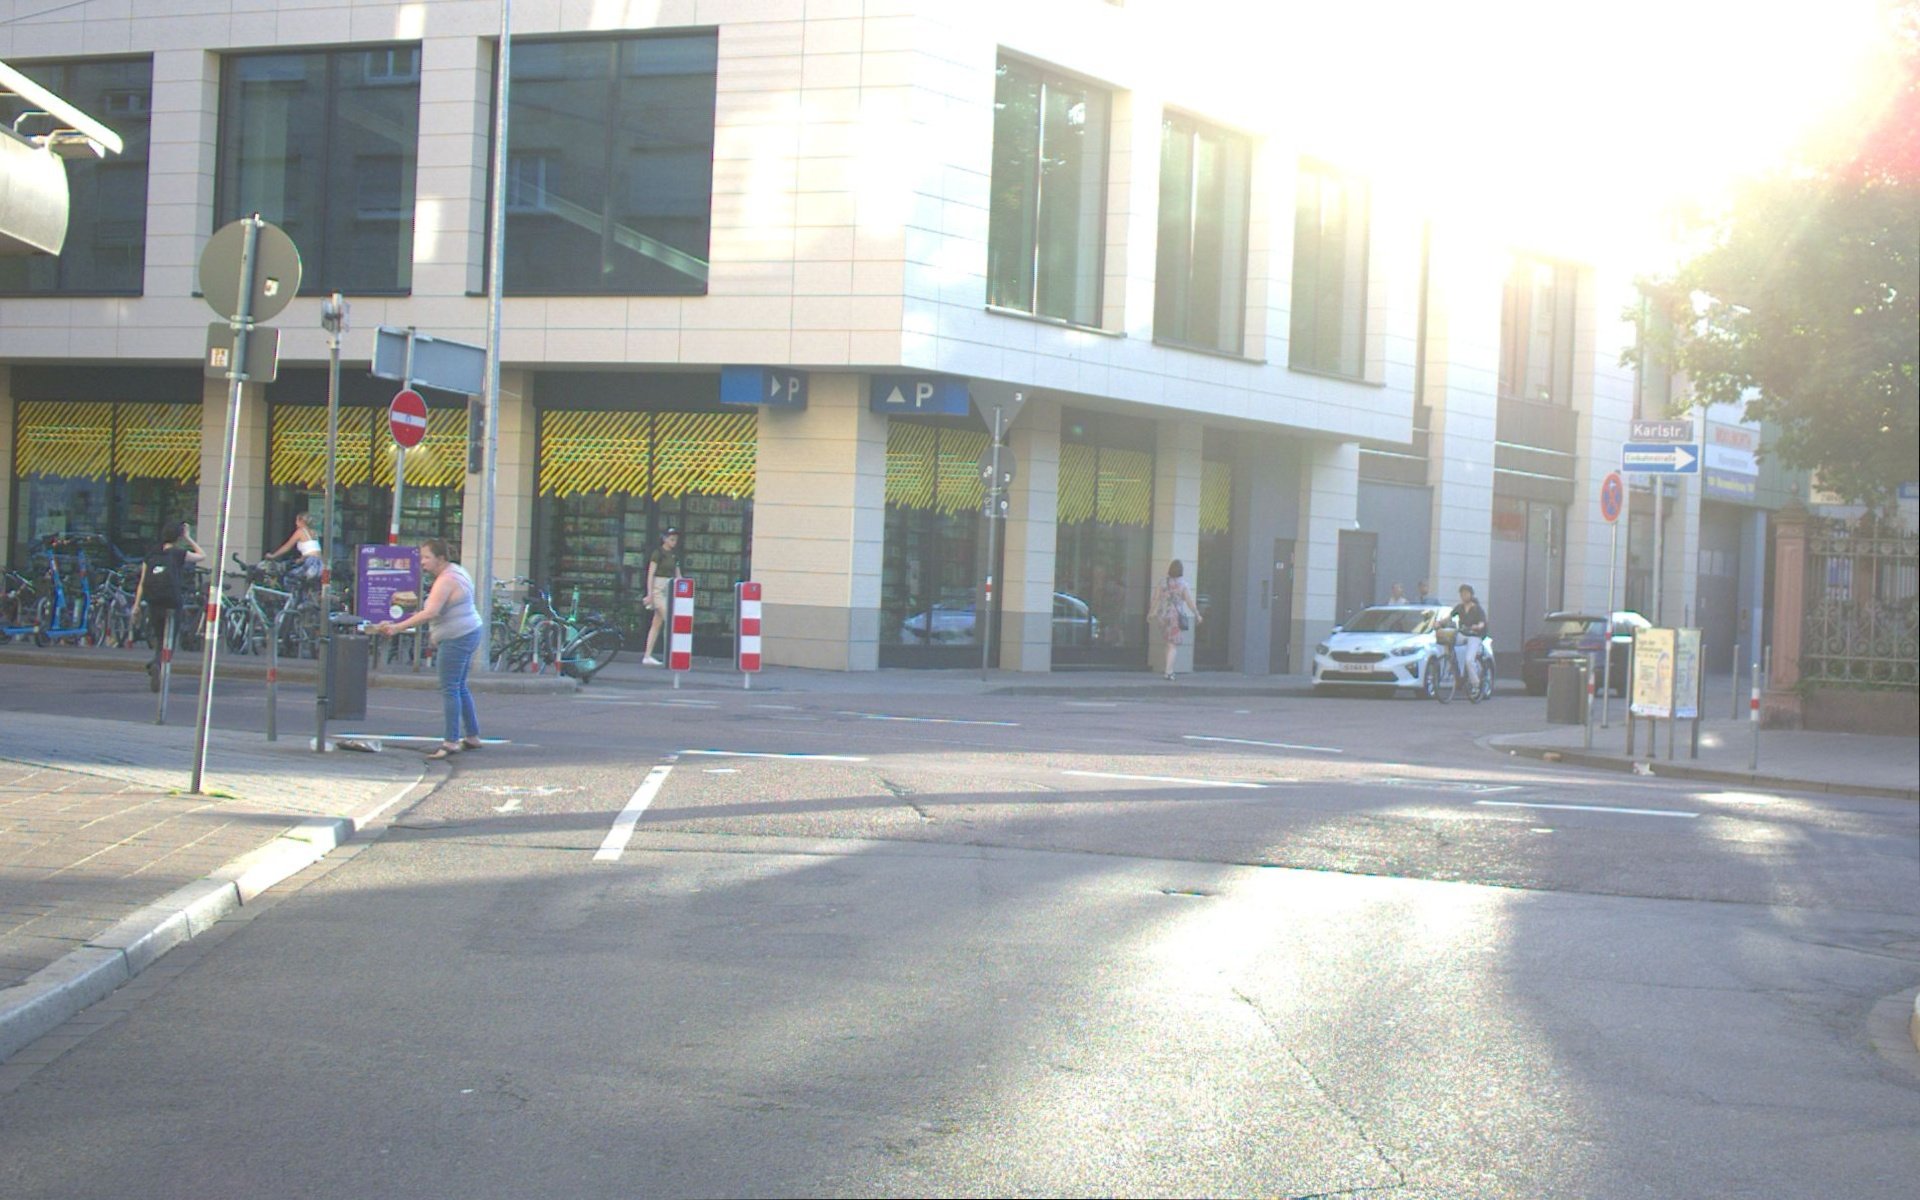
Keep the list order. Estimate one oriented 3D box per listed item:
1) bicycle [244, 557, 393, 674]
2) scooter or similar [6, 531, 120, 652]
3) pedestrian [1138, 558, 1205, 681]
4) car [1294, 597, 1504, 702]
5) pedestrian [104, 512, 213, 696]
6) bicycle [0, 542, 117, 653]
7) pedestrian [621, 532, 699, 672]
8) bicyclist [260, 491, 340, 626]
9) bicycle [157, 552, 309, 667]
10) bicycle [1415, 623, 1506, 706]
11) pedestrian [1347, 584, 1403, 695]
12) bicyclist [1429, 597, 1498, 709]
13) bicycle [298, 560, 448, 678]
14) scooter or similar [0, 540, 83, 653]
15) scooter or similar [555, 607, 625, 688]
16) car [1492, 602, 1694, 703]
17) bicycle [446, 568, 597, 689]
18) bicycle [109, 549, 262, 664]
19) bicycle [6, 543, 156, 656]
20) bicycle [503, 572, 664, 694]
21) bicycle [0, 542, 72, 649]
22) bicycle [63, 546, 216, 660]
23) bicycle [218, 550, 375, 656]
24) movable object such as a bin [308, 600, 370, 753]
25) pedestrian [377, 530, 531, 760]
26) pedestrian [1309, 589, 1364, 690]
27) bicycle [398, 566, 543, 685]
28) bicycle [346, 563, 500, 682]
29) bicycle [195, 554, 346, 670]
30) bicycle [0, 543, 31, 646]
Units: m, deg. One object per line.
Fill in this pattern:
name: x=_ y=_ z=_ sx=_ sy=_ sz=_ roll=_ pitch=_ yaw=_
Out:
bicycle: x=-7.223 y=0.185 z=38.791 sx=0.512 sy=1.250 sz=1.976 roll=3 pitch=0 yaw=26
scooter or similar: x=-9.764 y=-0.085 z=37.455 sx=0.387 sy=1.256 sz=1.269 roll=3 pitch=0 yaw=27
pedestrian: x=3.074 y=0.286 z=49.957 sx=0.673 sy=1.738 sz=0.646 roll=3 pitch=0 yaw=29
car: x=6.697 y=0.748 z=52.089 sx=1.780 sy=1.448 sz=4.224 roll=3 pitch=0 yaw=27
pedestrian: x=-7.425 y=0.032 z=31.836 sx=0.869 sy=1.652 sz=0.619 roll=3 pitch=0 yaw=-17
bicycle: x=-10.892 y=-0.028 z=40.750 sx=0.512 sy=1.250 sz=1.976 roll=3 pitch=0 yaw=27
pedestrian: x=-3.803 y=0.019 z=43.569 sx=0.635 sy=1.717 sz=0.845 roll=3 pitch=0 yaw=-27
bicyclist: x=-8.496 y=-0.532 z=44.257 sx=0.643 sy=1.689 sz=0.683 roll=3 pitch=0 yaw=29
bicycle: x=-8.305 y=0.122 z=39.348 sx=0.512 sy=1.250 sz=1.976 roll=3 pitch=0 yaw=27
bicycle: x=7.216 y=0.939 z=49.533 sx=0.665 sy=1.134 sz=1.819 roll=3 pitch=0 yaw=28
pedestrian: x=7.039 y=0.666 z=58.245 sx=0.673 sy=1.830 sz=0.646 roll=3 pitch=0 yaw=26
bicyclist: x=7.266 y=0.764 z=49.599 sx=0.659 sy=1.565 sz=0.862 roll=3 pitch=0 yaw=27
bicycle: x=-6.542 y=0.224 z=38.399 sx=0.512 sy=1.250 sz=1.976 roll=3 pitch=0 yaw=27
scooter or similar: x=-10.255 y=-0.037 z=37.785 sx=0.387 sy=1.208 sz=1.269 roll=3 pitch=0 yaw=27
scooter or similar: x=-4.168 y=0.534 z=38.770 sx=0.387 sy=0.881 sz=0.769 roll=3 pitch=0 yaw=27
car: x=11.076 y=0.923 z=59.909 sx=1.887 sy=1.592 sz=4.681 roll=3 pitch=0 yaw=31
bicycle: x=-4.760 y=0.328 z=37.461 sx=0.581 sy=1.250 sz=2.041 roll=3 pitch=0 yaw=25
bicycle: x=-8.925 y=0.086 z=39.706 sx=0.512 sy=1.250 sz=1.976 roll=3 pitch=0 yaw=27
bicycle: x=-10.329 y=0.005 z=40.467 sx=0.512 sy=1.250 sz=1.976 roll=3 pitch=0 yaw=25
bicycle: x=-4.051 y=0.369 z=37.165 sx=0.665 sy=1.250 sz=2.138 roll=3 pitch=0 yaw=25
bicycle: x=-11.549 y=-0.066 z=41.181 sx=0.512 sy=1.250 sz=1.976 roll=3 pitch=0 yaw=27
bicycle: x=-9.562 y=0.049 z=40.134 sx=0.512 sy=1.250 sz=1.976 roll=3 pitch=0 yaw=27
bicycle: x=-8.553 y=0.030 z=44.307 sx=1.975 sy=1.250 sz=0.611 roll=3 pitch=0 yaw=28
movable object such as a bin: x=-4.389 y=0.538 z=24.291 sx=0.359 sy=1.060 sz=0.356 roll=3 pitch=0 yaw=-13
pedestrian: x=-3.646 y=0.320 z=24.770 sx=0.802 sy=1.607 sz=0.735 roll=3 pitch=0 yaw=-32
pedestrian: x=6.417 y=0.672 z=58.563 sx=0.673 sy=1.669 sz=0.646 roll=3 pitch=0 yaw=26
bicycle: x=-5.353 y=0.293 z=37.700 sx=0.512 sy=1.250 sz=1.976 roll=3 pitch=0 yaw=25
bicycle: x=-5.915 y=0.261 z=37.969 sx=0.512 sy=1.250 sz=1.975 roll=3 pitch=0 yaw=29
bicycle: x=-7.815 y=0.150 z=39.054 sx=0.512 sy=1.250 sz=1.976 roll=3 pitch=0 yaw=27
bicycle: x=-12.105 y=-0.098 z=41.425 sx=0.512 sy=1.250 sz=1.976 roll=3 pitch=0 yaw=27
